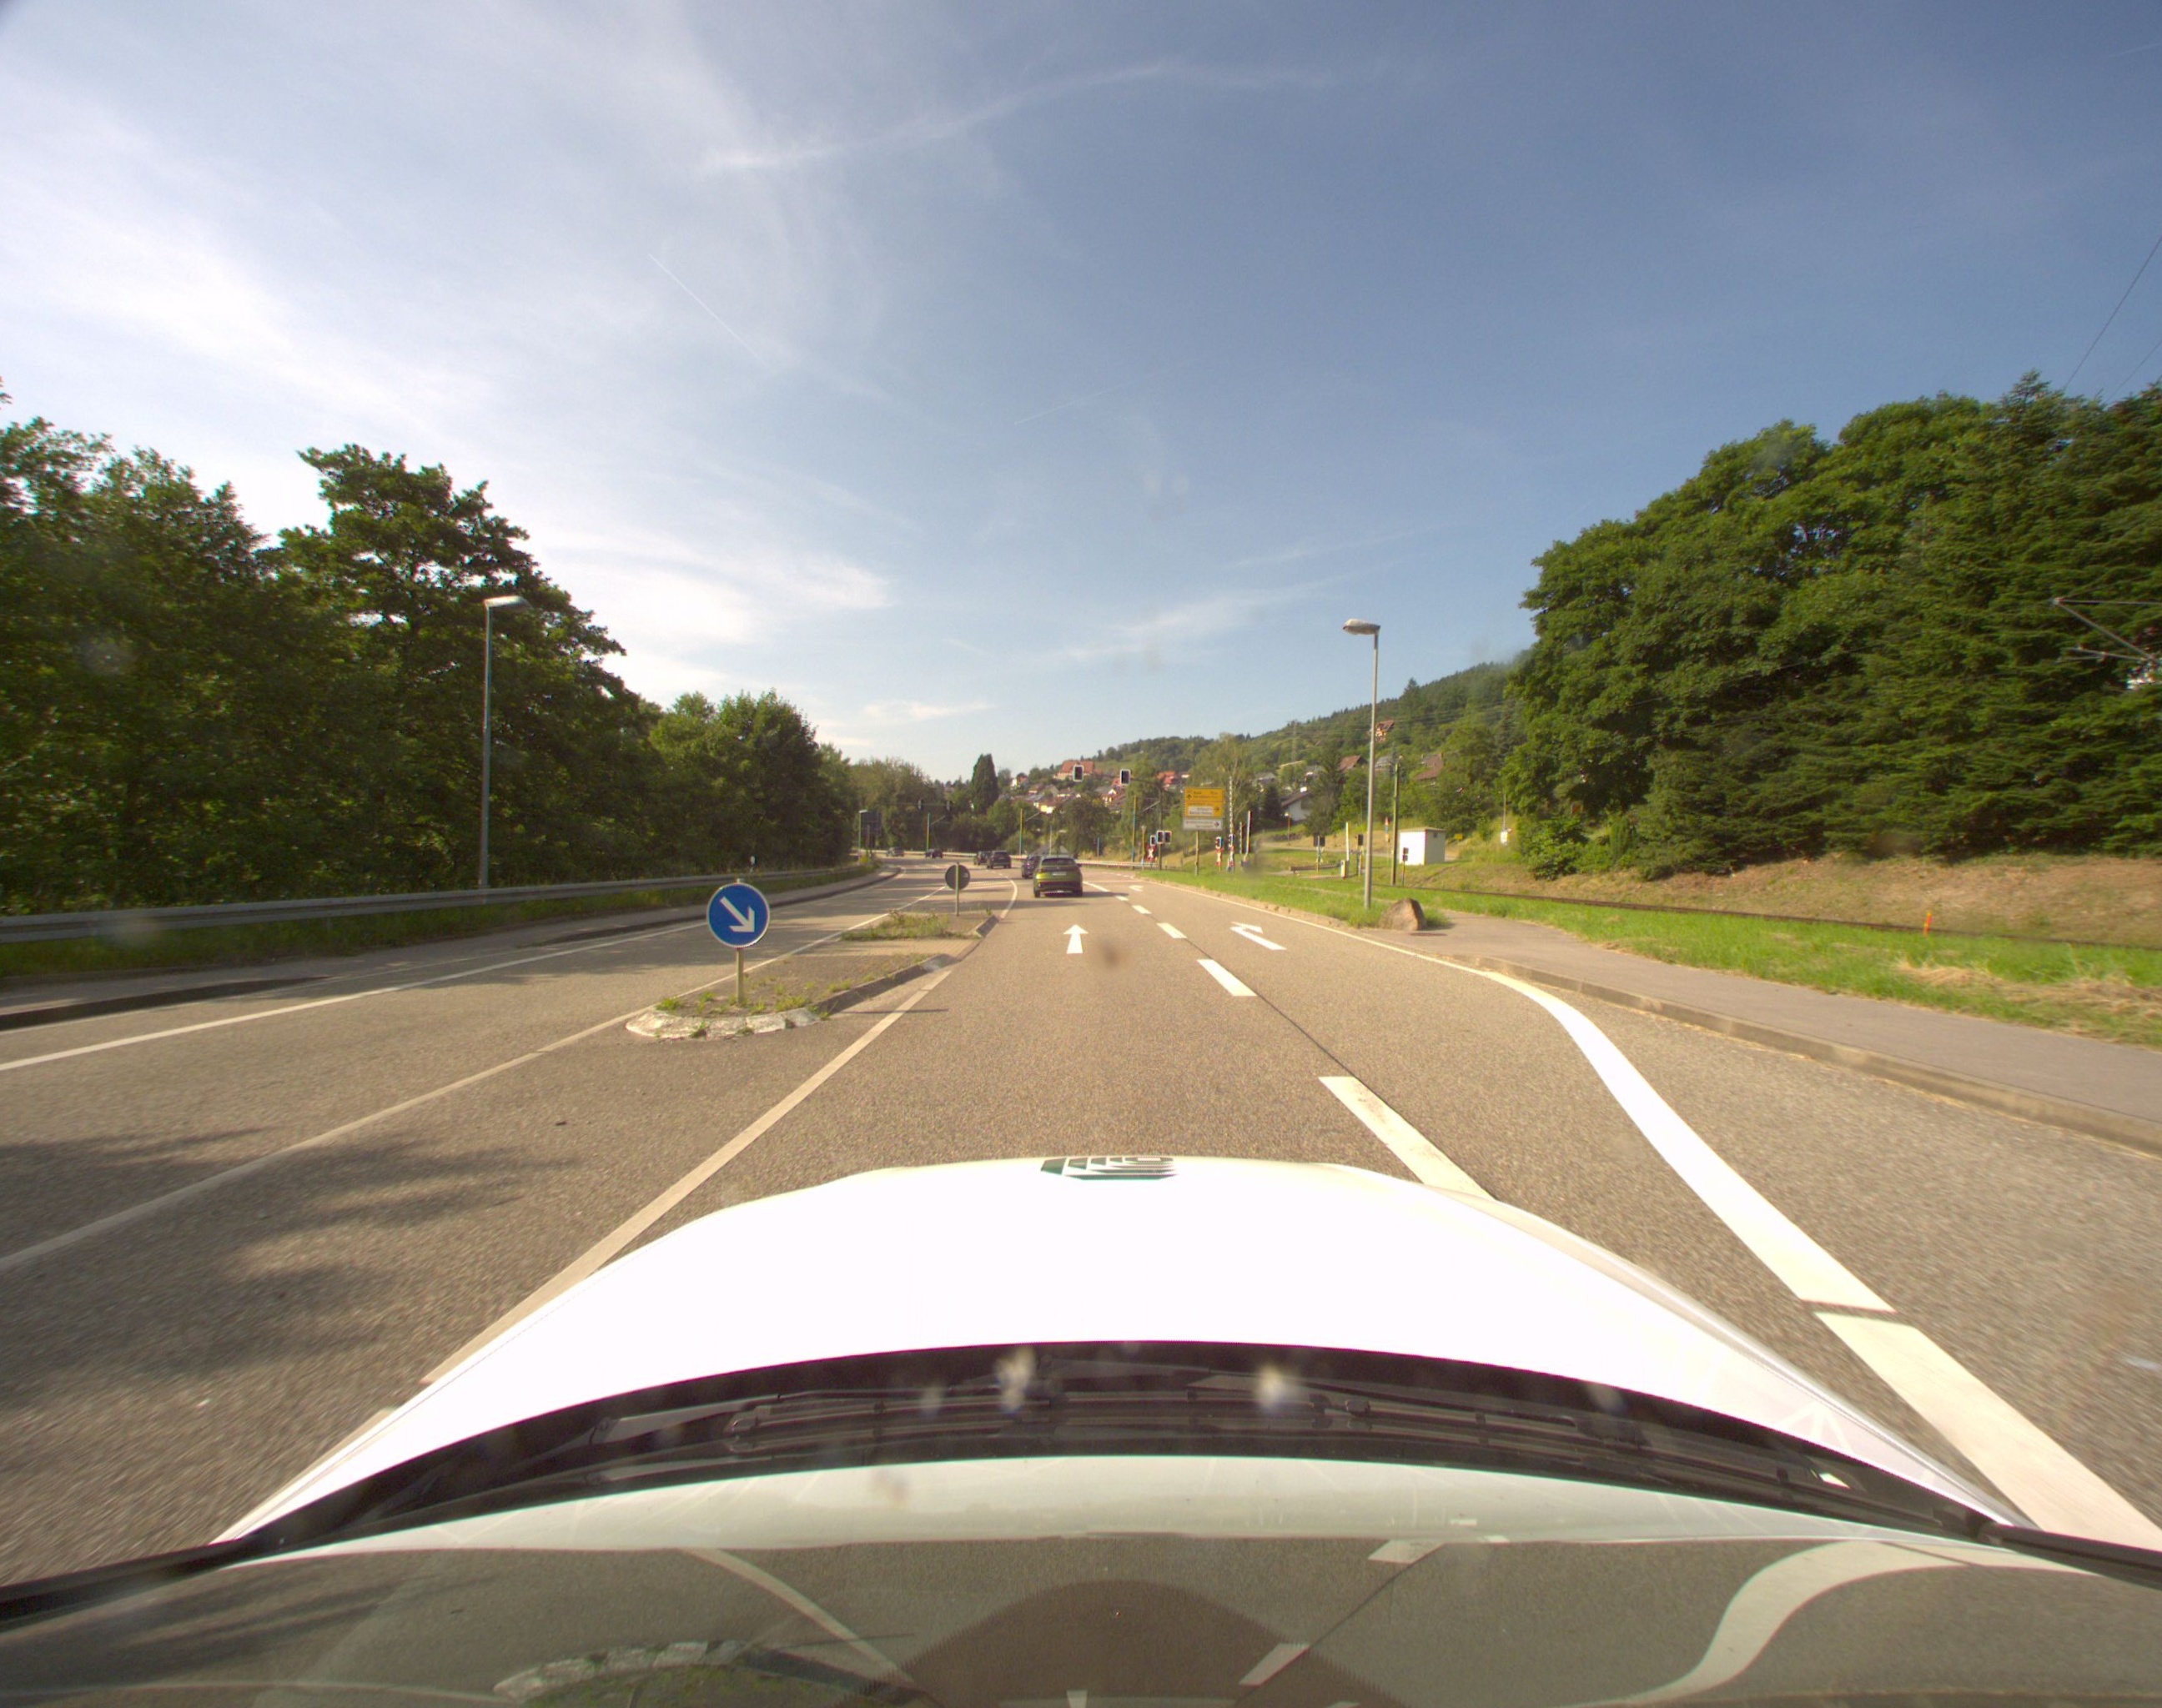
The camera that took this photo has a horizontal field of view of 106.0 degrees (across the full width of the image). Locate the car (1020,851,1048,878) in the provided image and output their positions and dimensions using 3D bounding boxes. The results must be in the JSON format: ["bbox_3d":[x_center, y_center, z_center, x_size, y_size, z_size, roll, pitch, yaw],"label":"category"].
[{"bbox_3d":[-2.863,0.606,49.676,1.663,1.559,3.995,-1,0,-3],"label":"car"}]

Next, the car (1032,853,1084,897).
[{"bbox_3d":[-0.908,0.723,30.018,1.711,1.455,3.994,-1,0,-4],"label":"car"}]

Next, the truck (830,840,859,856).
[{"bbox_3d":[-46.130,-1.155,158.684,6.031,3.083,2.737,1,1,43],"label":"truck"}]

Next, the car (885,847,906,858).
[{"bbox_3d":[-30.876,-0.250,135.609,2.079,1.811,3.957,-1,1,-35],"label":"car"}]

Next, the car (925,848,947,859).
[{"bbox_3d":[-22.039,-0.081,123.542,2.006,1.745,3.961,0,0,-31],"label":"car"}]

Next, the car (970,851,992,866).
[{"bbox_3d":[-10.771,0.446,87.550,1.853,1.527,3.641,0,0,-17],"label":"car"}]

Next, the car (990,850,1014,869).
[{"bbox_3d":[-7.220,0.493,74.359,1.880,1.686,3.986,-1,0,-10],"label":"car"}]
